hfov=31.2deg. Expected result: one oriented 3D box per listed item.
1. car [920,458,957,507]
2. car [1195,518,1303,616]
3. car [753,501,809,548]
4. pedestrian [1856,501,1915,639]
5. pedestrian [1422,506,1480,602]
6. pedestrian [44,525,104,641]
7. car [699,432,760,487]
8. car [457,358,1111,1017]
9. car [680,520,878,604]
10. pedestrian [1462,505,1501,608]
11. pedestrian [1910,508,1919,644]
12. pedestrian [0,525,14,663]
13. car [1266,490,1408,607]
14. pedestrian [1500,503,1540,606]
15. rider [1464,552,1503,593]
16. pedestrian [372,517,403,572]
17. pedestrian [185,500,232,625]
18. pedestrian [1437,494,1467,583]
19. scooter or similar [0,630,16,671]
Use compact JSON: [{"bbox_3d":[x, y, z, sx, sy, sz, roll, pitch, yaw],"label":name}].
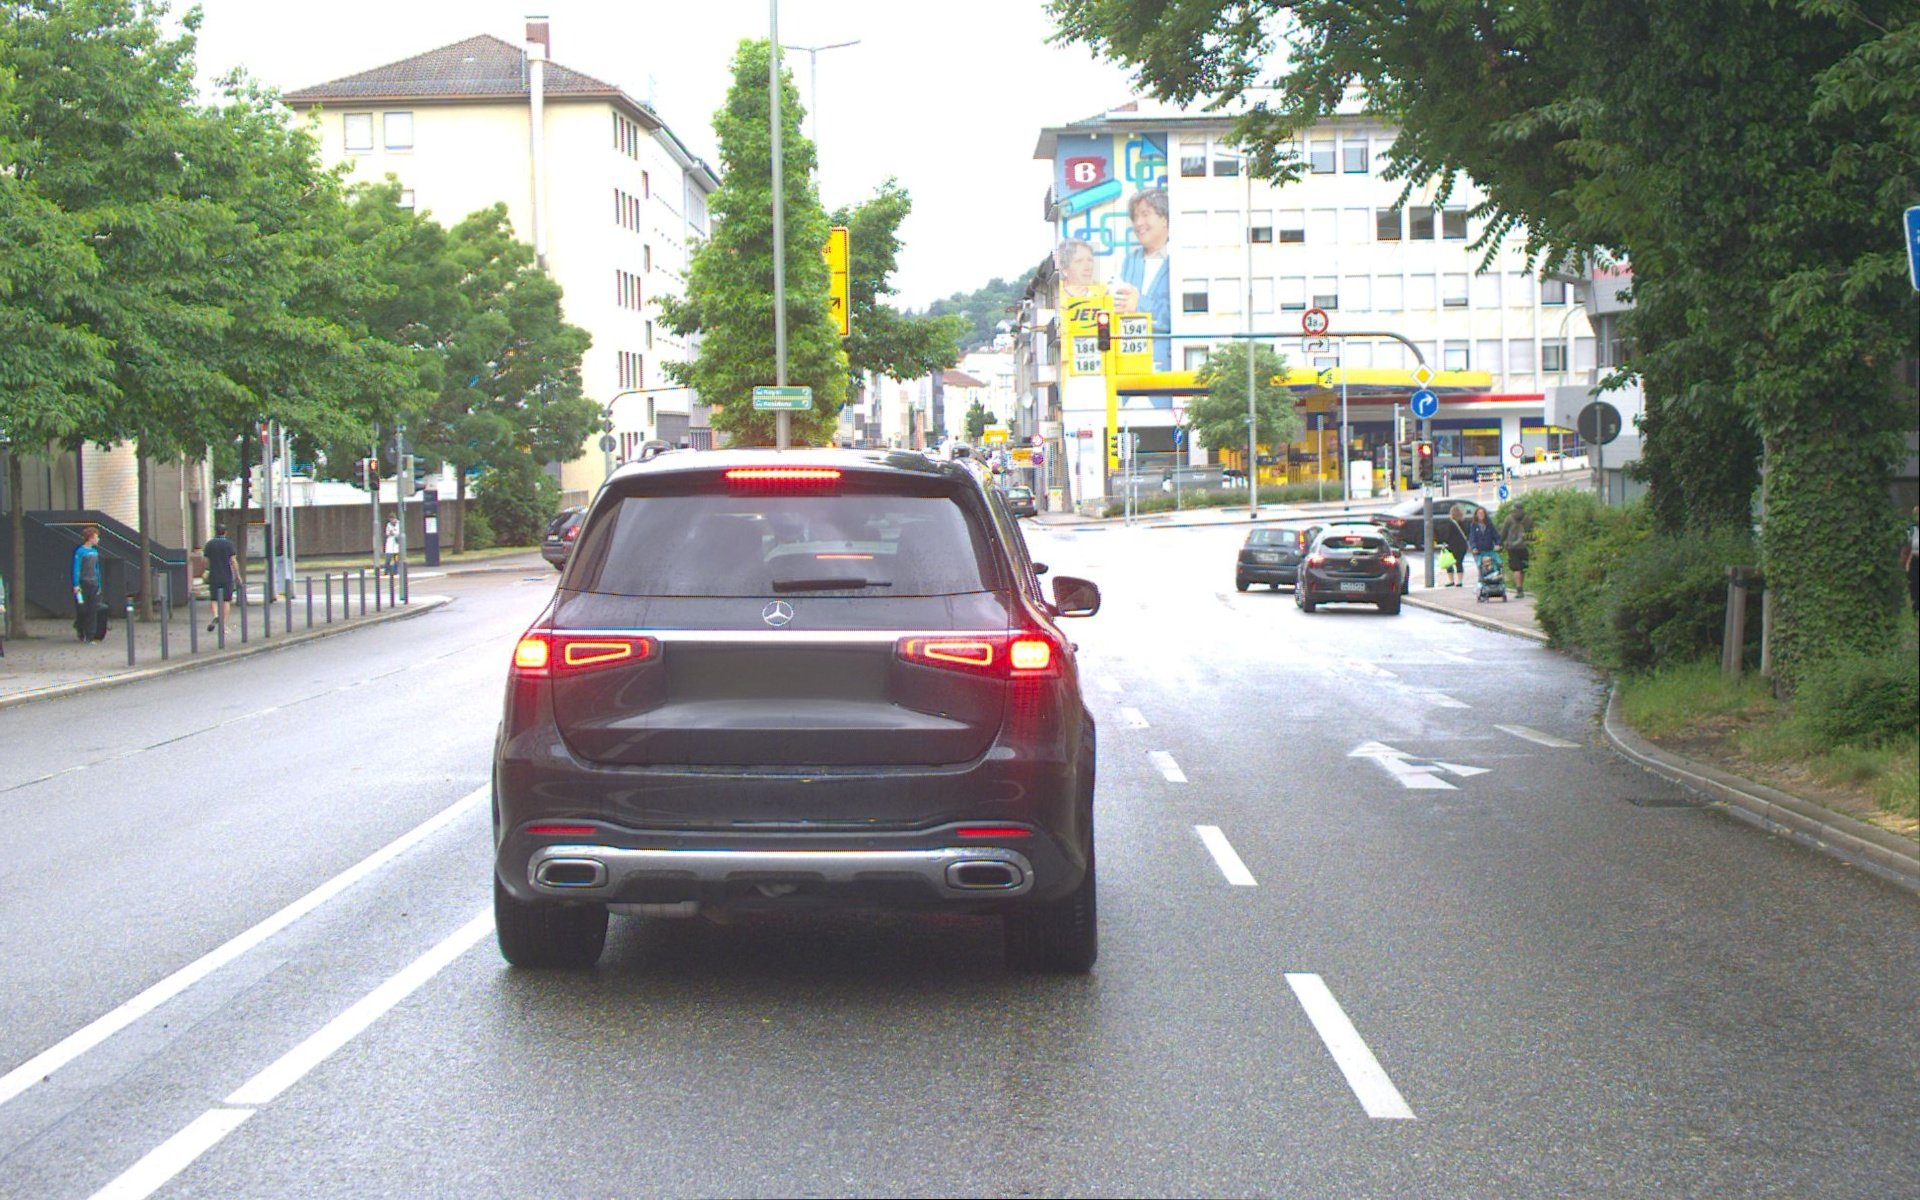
[{"bbox_3d":[-1.182,-6.534,190.691,1.993,2.005,4.004,1,12,-1],"label":"car"},{"bbox_3d":[6.109,-0.698,73.071,1.993,2.007,4.000,1,0,1],"label":"car"},{"bbox_3d":[-7.937,-3.315,152.184,1.993,2.007,4.001,1,0,-9],"label":"car"},{"bbox_3d":[10.326,-0.333,38.360,0.551,1.527,0.488,1,0,7],"label":"pedestrian"},{"bbox_3d":[10.397,-0.982,72.819,1.025,2.007,0.999,1,1,-1],"label":"pedestrian"},{"bbox_3d":[-13.272,-0.253,51.511,0.688,1.719,0.754,1,-1,-1],"label":"pedestrian"},{"bbox_3d":[-8.634,-5.242,129.115,1.993,1.868,5.142,1,0,-1],"label":"car"},{"bbox_3d":[-0.572,0.254,12.652,1.993,2.007,4.000,1,0,-1],"label":"car"},{"bbox_3d":[-4.551,-0.970,86.138,4.804,2.006,2.001,-1,2,-7],"label":"car"},{"bbox_3d":[9.733,-0.809,64.169,0.663,1.911,0.728,1,1,11],"label":"pedestrian"},{"bbox_3d":[10.918,-0.261,38.220,0.582,1.496,0.504,1,0,7],"label":"pedestrian"},{"bbox_3d":[-12.172,-0.086,42.740,0.676,1.691,0.479,1,3,0],"label":"pedestrian"},{"bbox_3d":[6.687,-0.940,61.294,1.993,2.007,4.001,0,2,-1],"label":"car"},{"bbox_3d":[10.560,-0.852,64.820,0.620,1.929,0.610,1,0,-1],"label":"pedestrian"},{"bbox_3d":[9.662,-0.500,63.383,0.694,0.737,0.632,1,0,9],"label":"rider"},{"bbox_3d":[-15.329,-1.488,92.007,0.711,1.457,0.598,1,0,-1],"label":"pedestrian"},{"bbox_3d":[-12.186,-0.614,55.770,0.587,2.007,0.749,1,0,-1],"label":"pedestrian"},{"bbox_3d":[10.557,-1.316,73.763,0.519,1.904,0.556,1,0,1],"label":"pedestrian"},{"bbox_3d":[-12.083,0.633,43.179,0.280,0.499,0.616,1,0,-1],"label":"scooter or similar"}]
